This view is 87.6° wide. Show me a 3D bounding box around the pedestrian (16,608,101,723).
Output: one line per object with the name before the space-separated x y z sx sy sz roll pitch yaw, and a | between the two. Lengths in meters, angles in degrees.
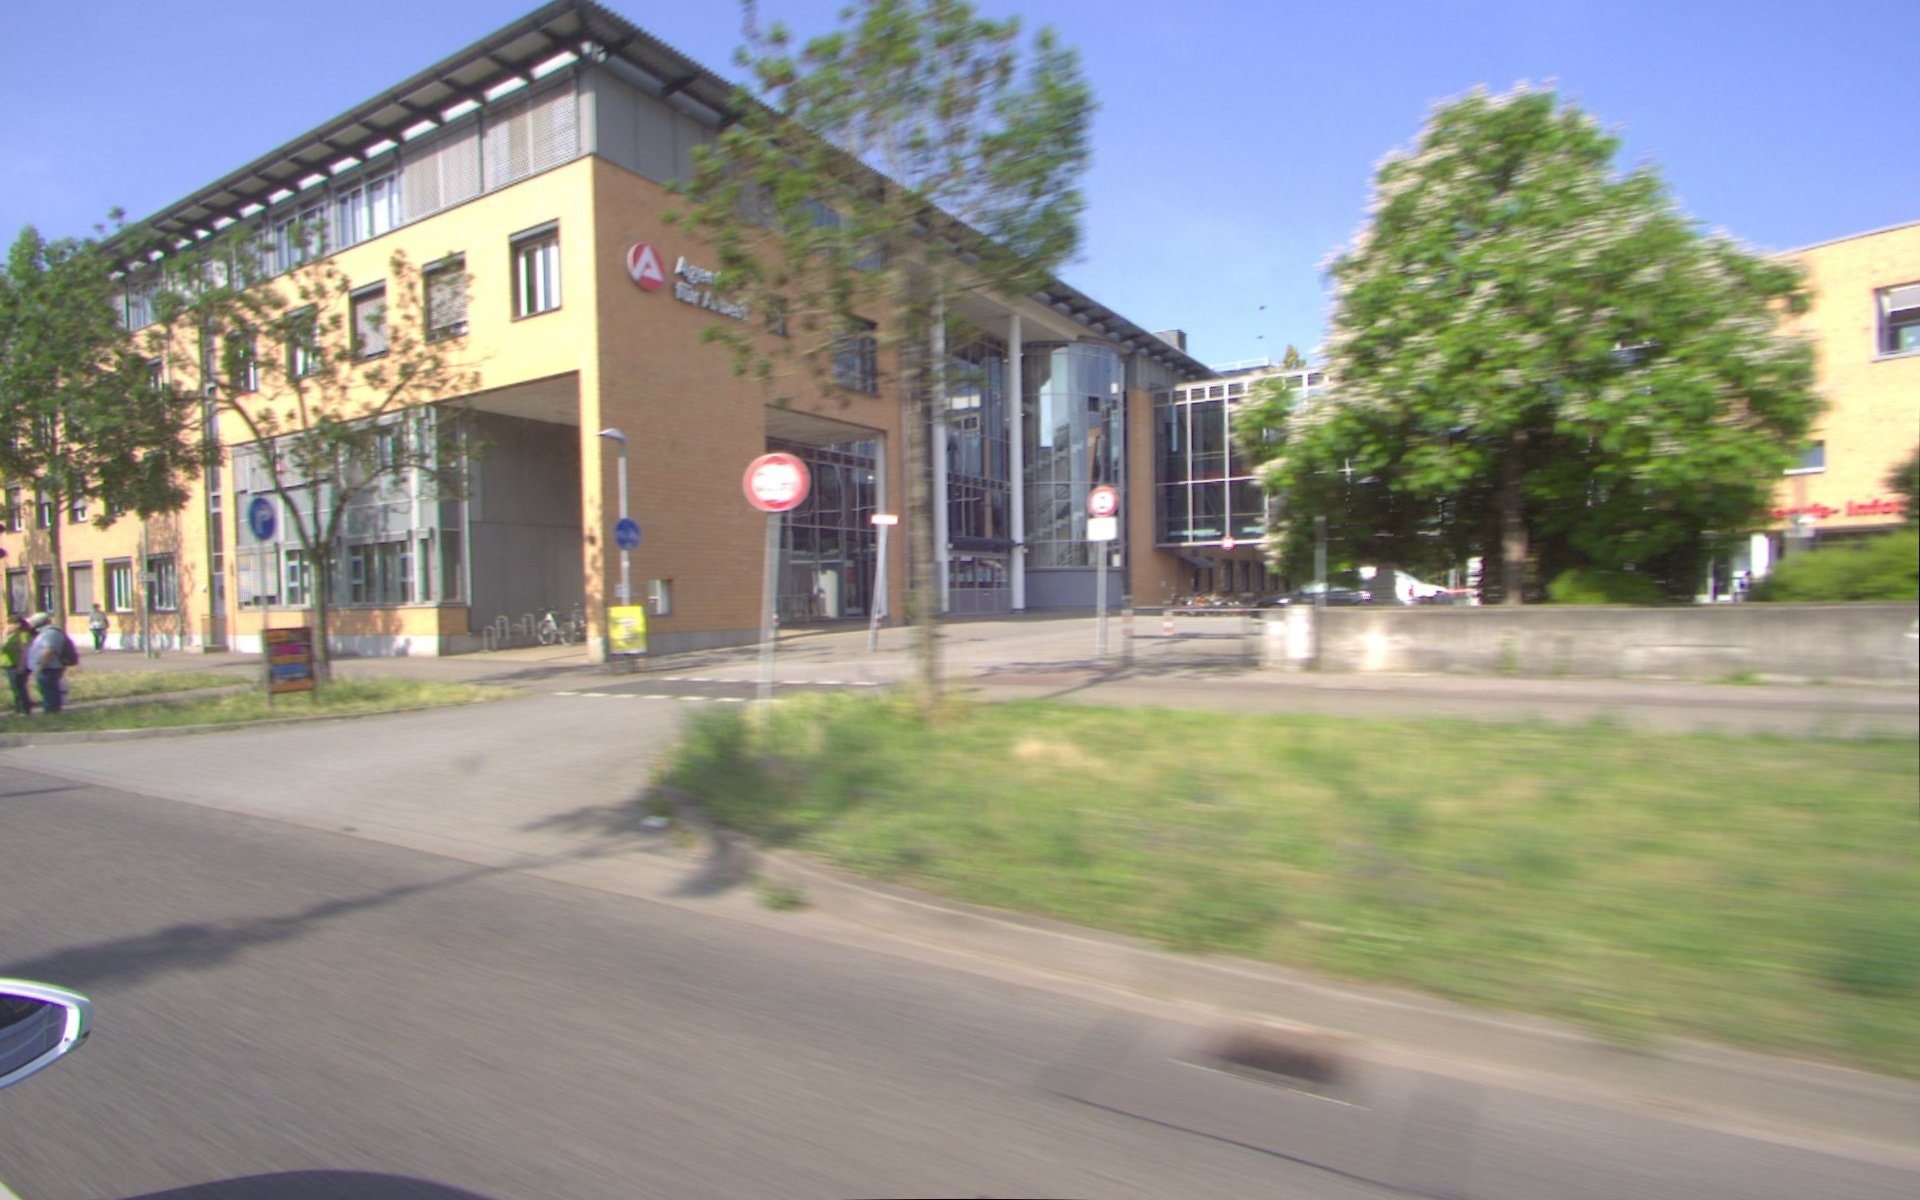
pedestrian | -13.666 0.974 15.185 0.679 1.669 0.704 -1 2 30

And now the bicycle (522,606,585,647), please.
bicycle | -11.325 0.729 27.860 1.811 1.056 0.649 -1 4 33

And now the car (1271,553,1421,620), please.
car | 12.884 -0.394 33.473 4.397 2.039 1.990 -1 -2 32

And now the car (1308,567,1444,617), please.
car | 15.212 -0.256 36.674 4.357 1.661 1.764 -1 -2 32

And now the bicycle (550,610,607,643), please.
bicycle | -10.876 0.748 28.545 1.811 0.901 0.526 -1 1 33

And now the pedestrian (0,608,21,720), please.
pedestrian | -14.699 0.969 14.980 0.679 1.669 0.704 -1 2 30

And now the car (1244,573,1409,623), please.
car | 11.472 -0.026 31.459 4.639 1.417 1.592 -1 -2 33

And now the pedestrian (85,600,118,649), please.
pedestrian | -30.255 0.866 35.290 0.762 1.678 0.694 -1 -1 32

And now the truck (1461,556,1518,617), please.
truck | 24.834 -0.534 46.833 2.033 2.518 5.982 -1 -2 31

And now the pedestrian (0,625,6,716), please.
pedestrian | -15.323 0.987 15.462 0.599 1.669 0.633 -1 2 28
